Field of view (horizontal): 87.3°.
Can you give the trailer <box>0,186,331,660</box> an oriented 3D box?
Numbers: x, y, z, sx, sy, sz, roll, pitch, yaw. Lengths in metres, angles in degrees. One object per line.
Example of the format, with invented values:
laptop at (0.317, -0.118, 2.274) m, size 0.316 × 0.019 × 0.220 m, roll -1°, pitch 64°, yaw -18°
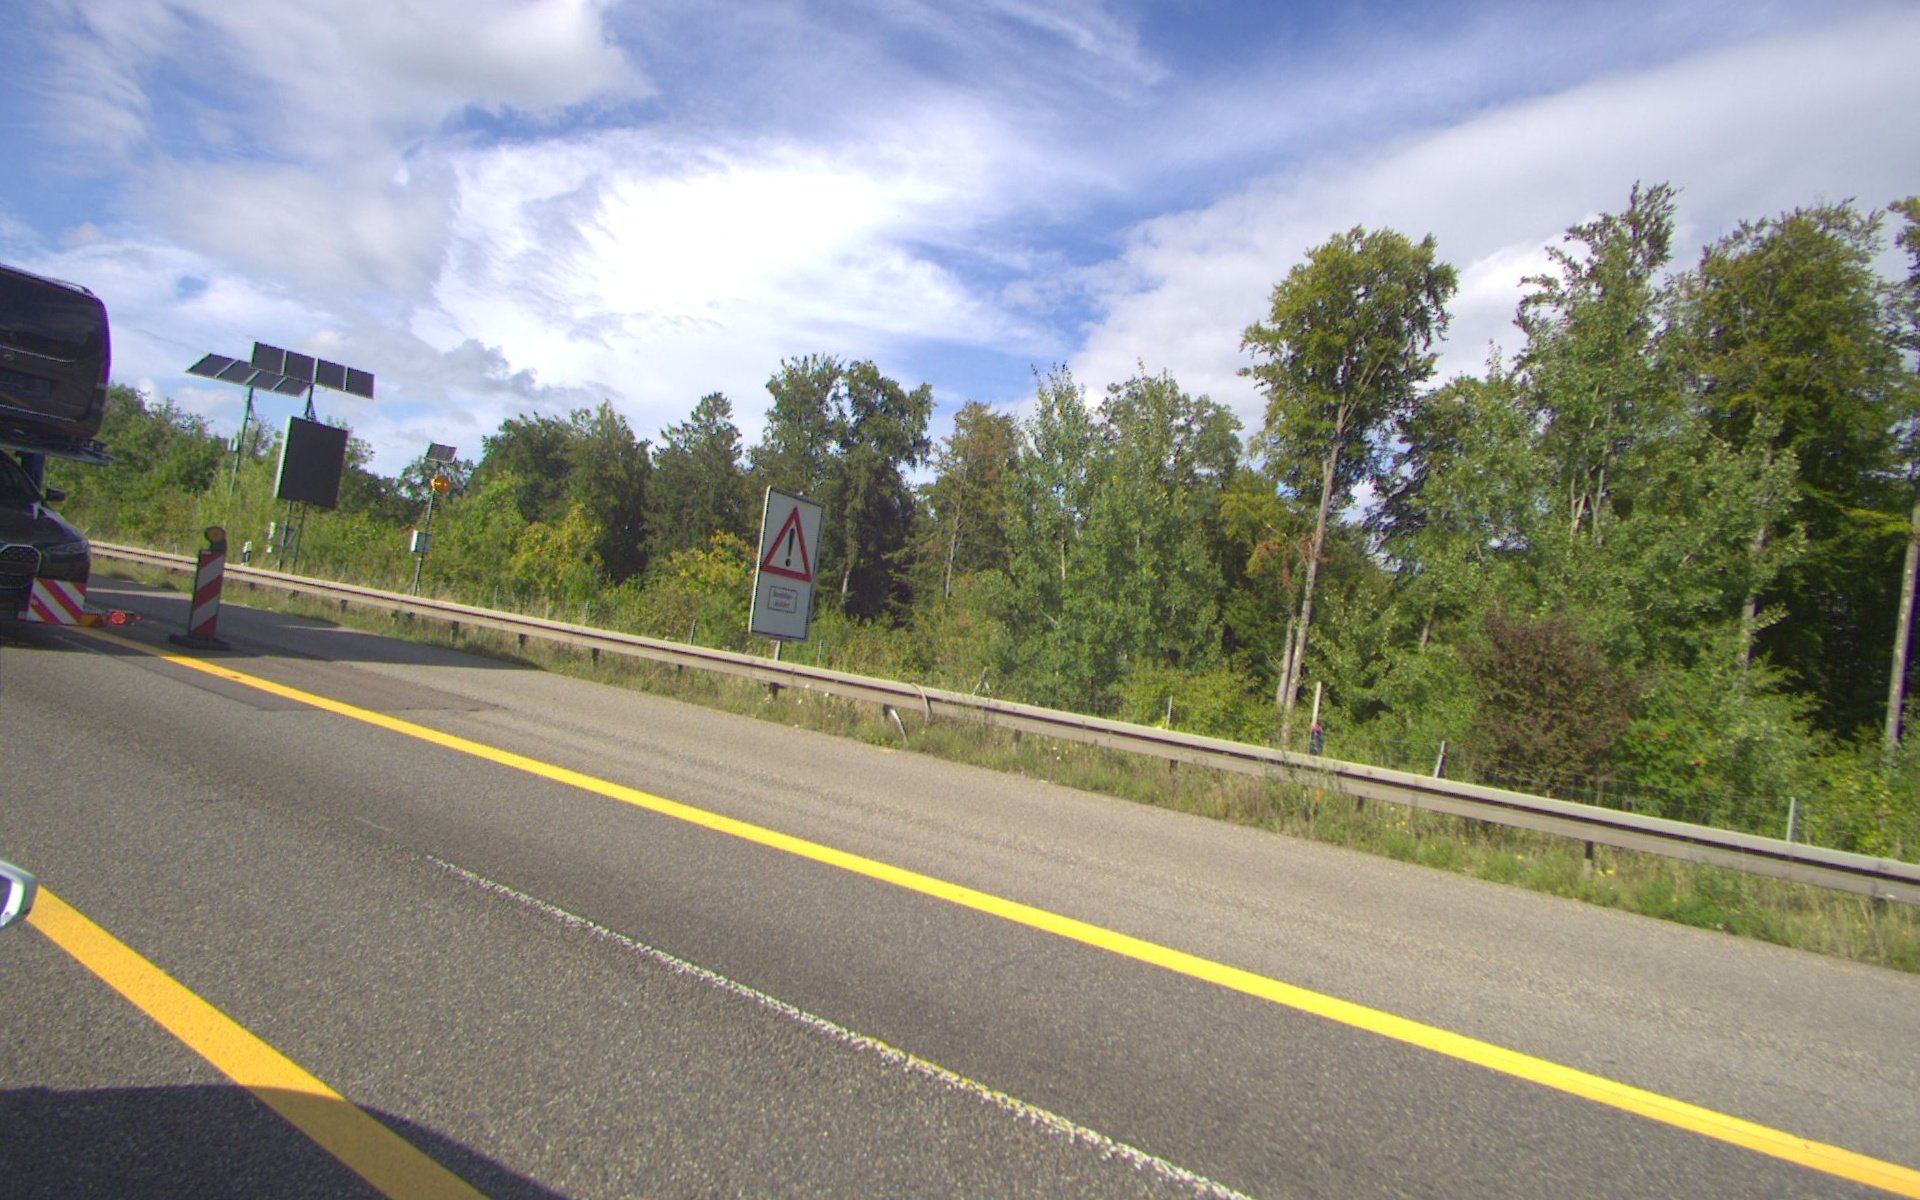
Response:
trailer at (-15.314, -2.362, 14.318) m, size 15.958 × 4.245 × 3.734 m, roll 6°, pitch -2°, yaw 32°
